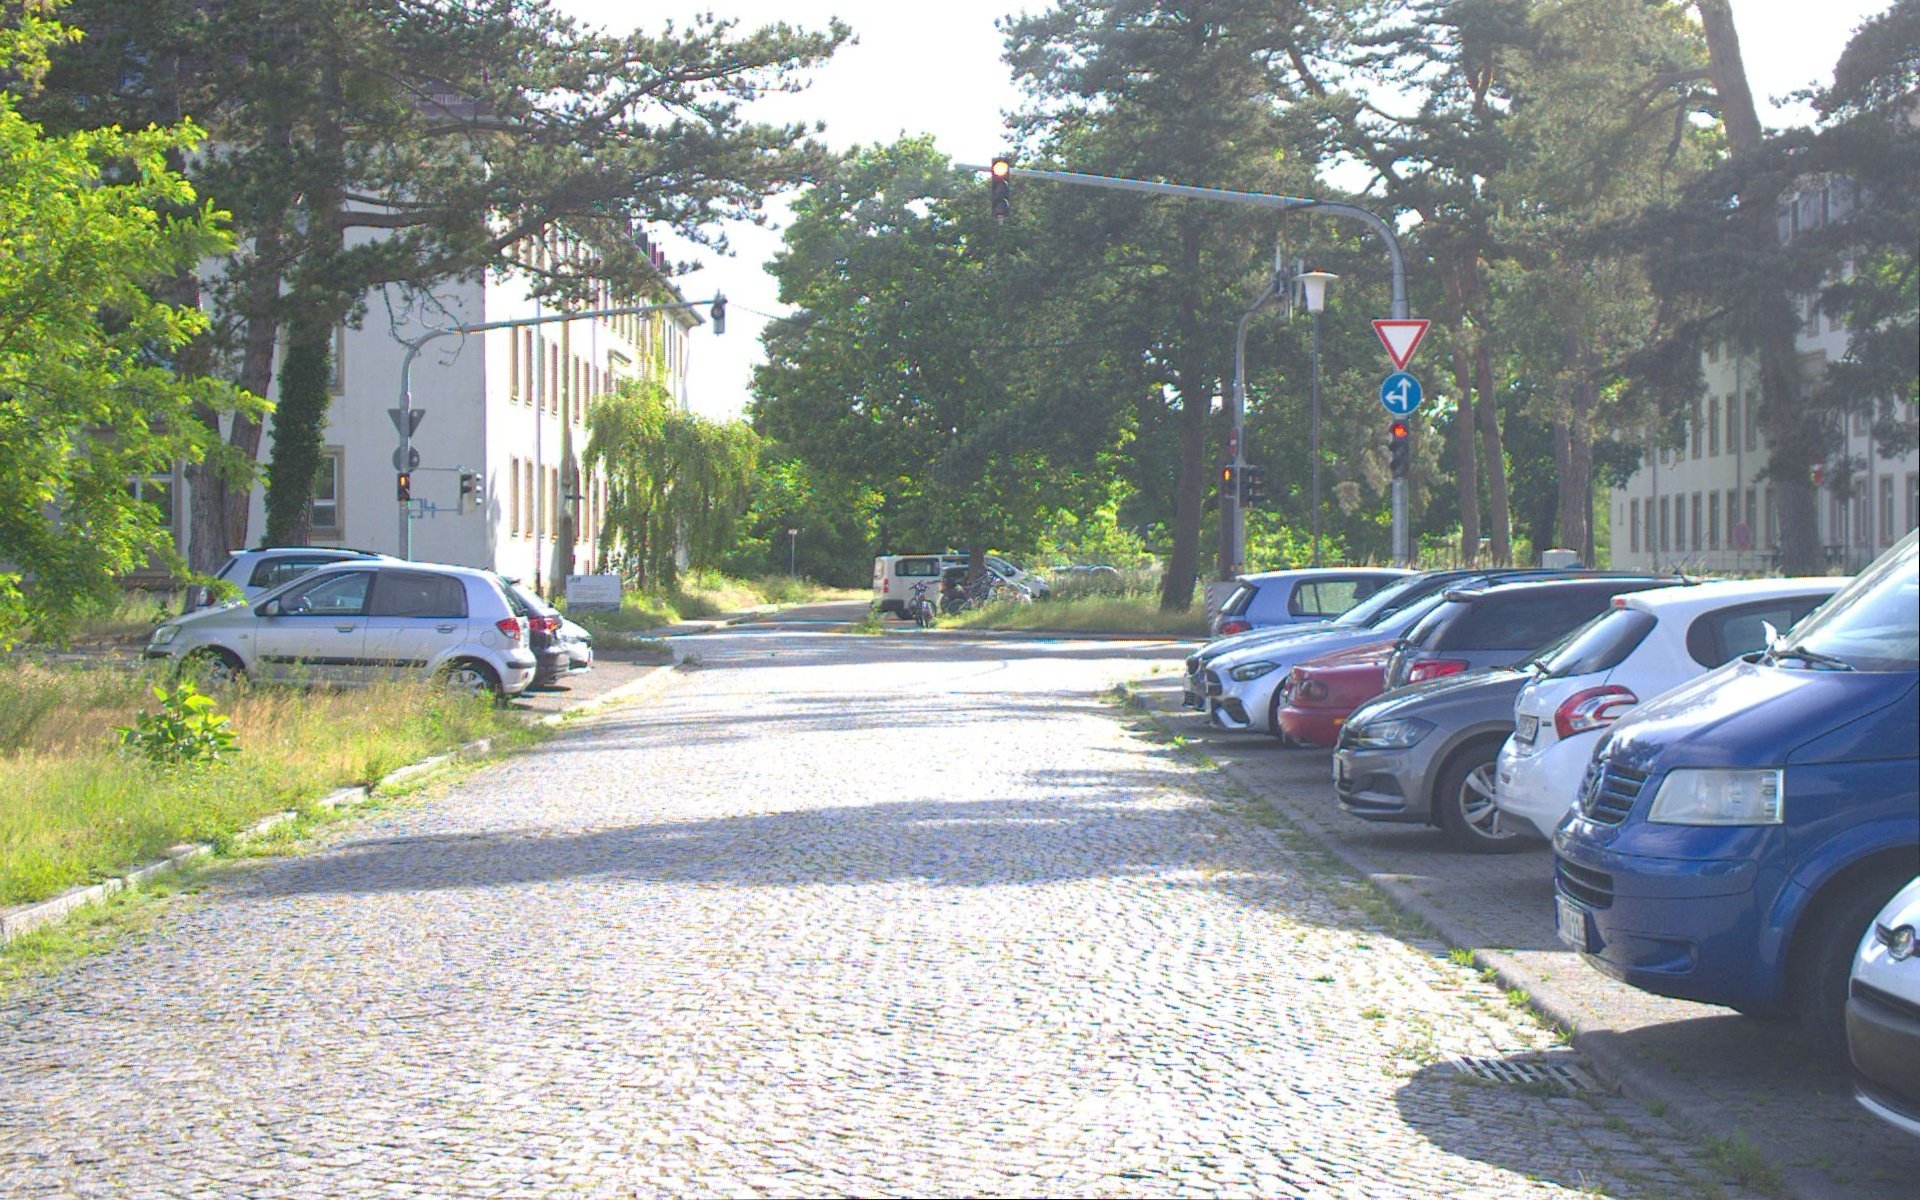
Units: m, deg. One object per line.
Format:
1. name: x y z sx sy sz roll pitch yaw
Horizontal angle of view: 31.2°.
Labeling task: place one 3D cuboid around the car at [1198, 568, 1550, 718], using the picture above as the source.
1. car: 4.168 0.419 34.932 3.343 1.477 1.645 0 1 -2

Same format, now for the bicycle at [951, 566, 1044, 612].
1. bicycle: 0.919 -0.269 85.240 2.172 1.096 0.807 1 1 -10

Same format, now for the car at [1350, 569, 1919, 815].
1. car: 4.379 0.571 22.289 3.478 1.524 1.645 0 1 -2

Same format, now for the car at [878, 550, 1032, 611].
1. car: -0.171 -0.572 101.391 4.480 1.722 2.000 1 1 -1

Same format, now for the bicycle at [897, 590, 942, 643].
1. bicycle: -0.950 0.374 80.463 0.804 1.165 2.181 -2 1 -6

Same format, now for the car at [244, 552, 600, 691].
1. car: -6.513 0.246 41.934 3.987 1.448 2.000 3 1 -1

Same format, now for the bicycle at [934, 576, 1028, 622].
1. bicycle: 0.517 -0.024 83.923 2.172 1.096 0.807 1 1 -10

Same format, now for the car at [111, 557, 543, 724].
1. car: -6.218 0.380 34.145 3.986 1.595 2.000 0 1 -3

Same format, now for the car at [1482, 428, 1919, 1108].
1. car: 4.251 0.484 11.303 4.676 2.007 2.084 0 1 -3

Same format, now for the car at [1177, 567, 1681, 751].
1. car: 3.975 0.482 29.520 4.033 1.524 1.646 0 1 -4

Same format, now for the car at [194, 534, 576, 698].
1. car: -6.557 0.173 39.533 3.987 1.596 2.000 4 1 -1

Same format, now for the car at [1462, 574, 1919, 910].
1. car: 4.391 0.623 16.482 3.694 1.461 1.645 -2 1 0

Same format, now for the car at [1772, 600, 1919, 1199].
1. car: 4.111 0.738 8.626 3.718 1.483 1.646 -1 1 -3

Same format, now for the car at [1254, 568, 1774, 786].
1. car: 3.968 0.536 24.980 3.478 1.524 1.645 0 1 -2

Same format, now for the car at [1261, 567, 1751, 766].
1. car: 4.287 0.509 27.338 3.602 1.524 1.645 0 1 -2

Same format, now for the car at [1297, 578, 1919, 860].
1. car: 3.842 0.635 19.370 3.675 1.462 1.645 -1 1 -2

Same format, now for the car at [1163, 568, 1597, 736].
1. car: 3.893 0.472 32.292 3.835 1.524 1.645 0 1 -2
